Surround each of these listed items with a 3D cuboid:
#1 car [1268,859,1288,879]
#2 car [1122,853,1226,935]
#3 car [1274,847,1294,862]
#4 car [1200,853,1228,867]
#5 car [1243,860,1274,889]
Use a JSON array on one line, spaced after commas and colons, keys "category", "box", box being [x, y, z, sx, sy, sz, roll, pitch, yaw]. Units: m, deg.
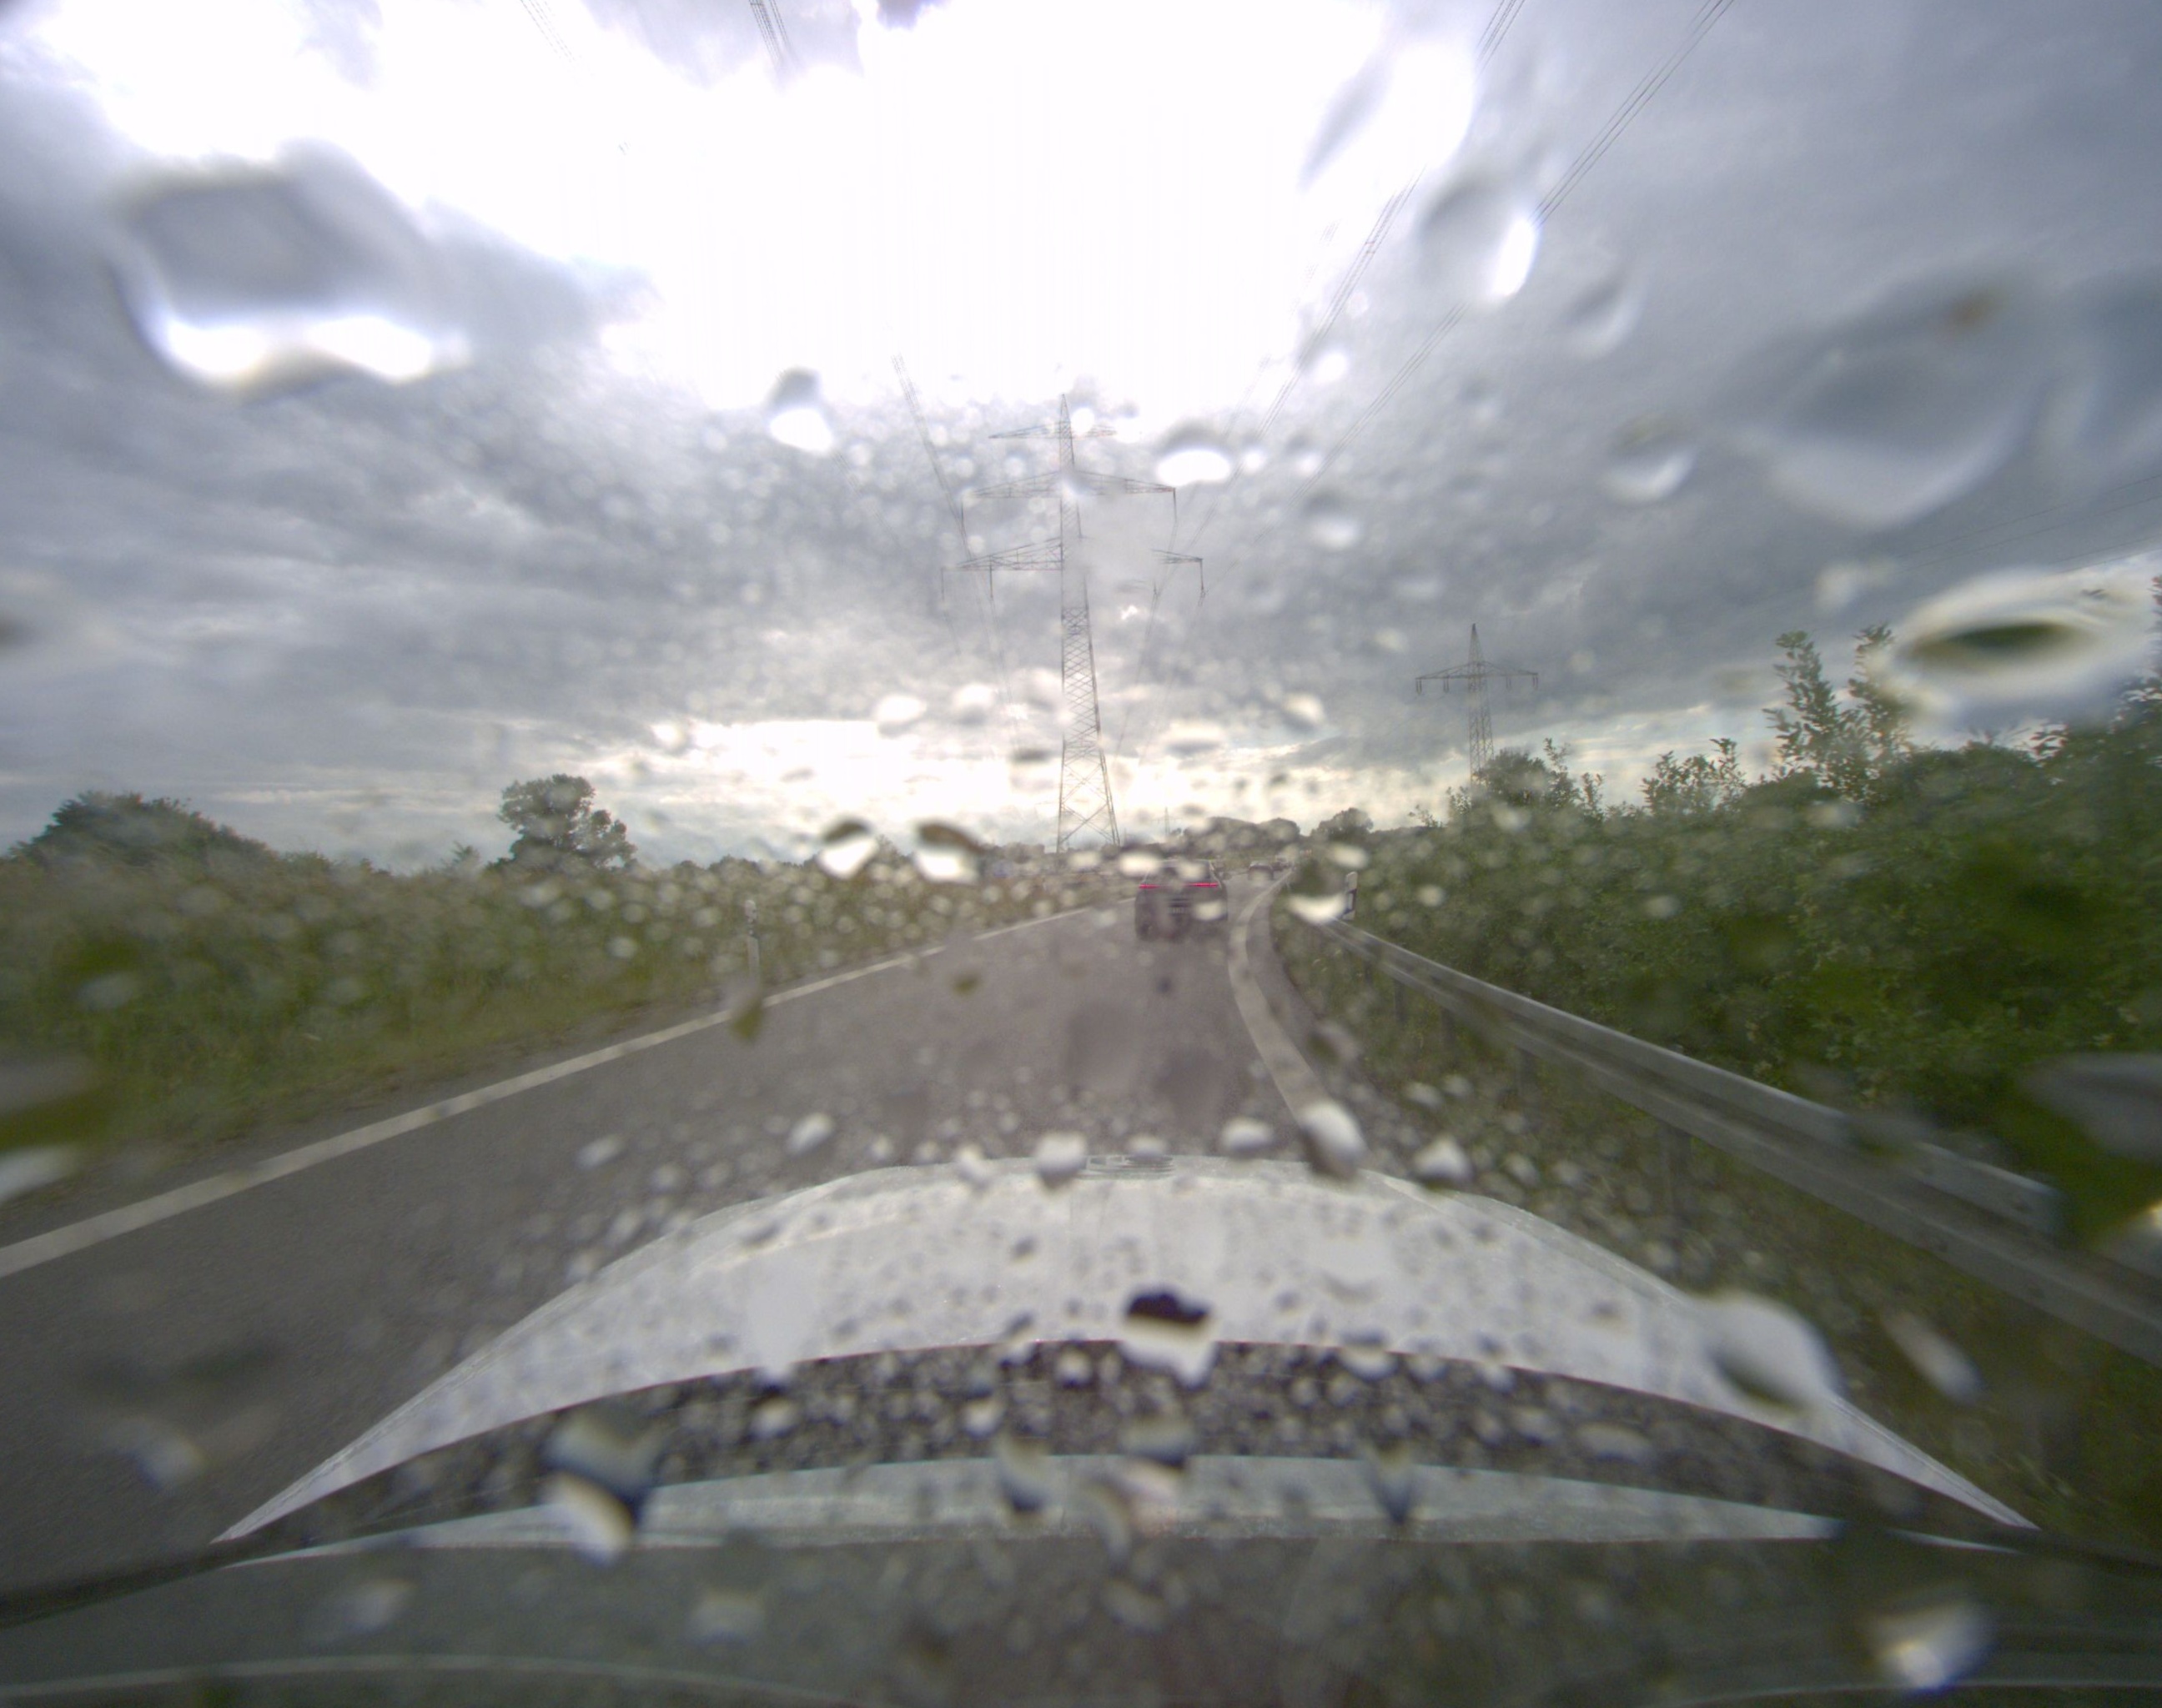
[{"category": "car", "box": [26.709, 2.032, 110.308, 2.334, 2.306, 5.150, -3, 1, 15]}, {"category": "car", "box": [2.118, 0.782, 17.786, 1.982, 1.566, 4.159, -1, 0, 9]}, {"category": "car", "box": [45.224, 0.107, 181.439, 3.122, 2.951, 7.218, -3, 1, 4]}, {"category": "car", "box": [40.185, 1.883, 246.629, 3.402, 3.611, 8.964, -2, -1, -27]}, {"category": "car", "box": [13.831, 1.524, 63.353, 2.106, 2.018, 5.553, -3, -1, 13]}]
